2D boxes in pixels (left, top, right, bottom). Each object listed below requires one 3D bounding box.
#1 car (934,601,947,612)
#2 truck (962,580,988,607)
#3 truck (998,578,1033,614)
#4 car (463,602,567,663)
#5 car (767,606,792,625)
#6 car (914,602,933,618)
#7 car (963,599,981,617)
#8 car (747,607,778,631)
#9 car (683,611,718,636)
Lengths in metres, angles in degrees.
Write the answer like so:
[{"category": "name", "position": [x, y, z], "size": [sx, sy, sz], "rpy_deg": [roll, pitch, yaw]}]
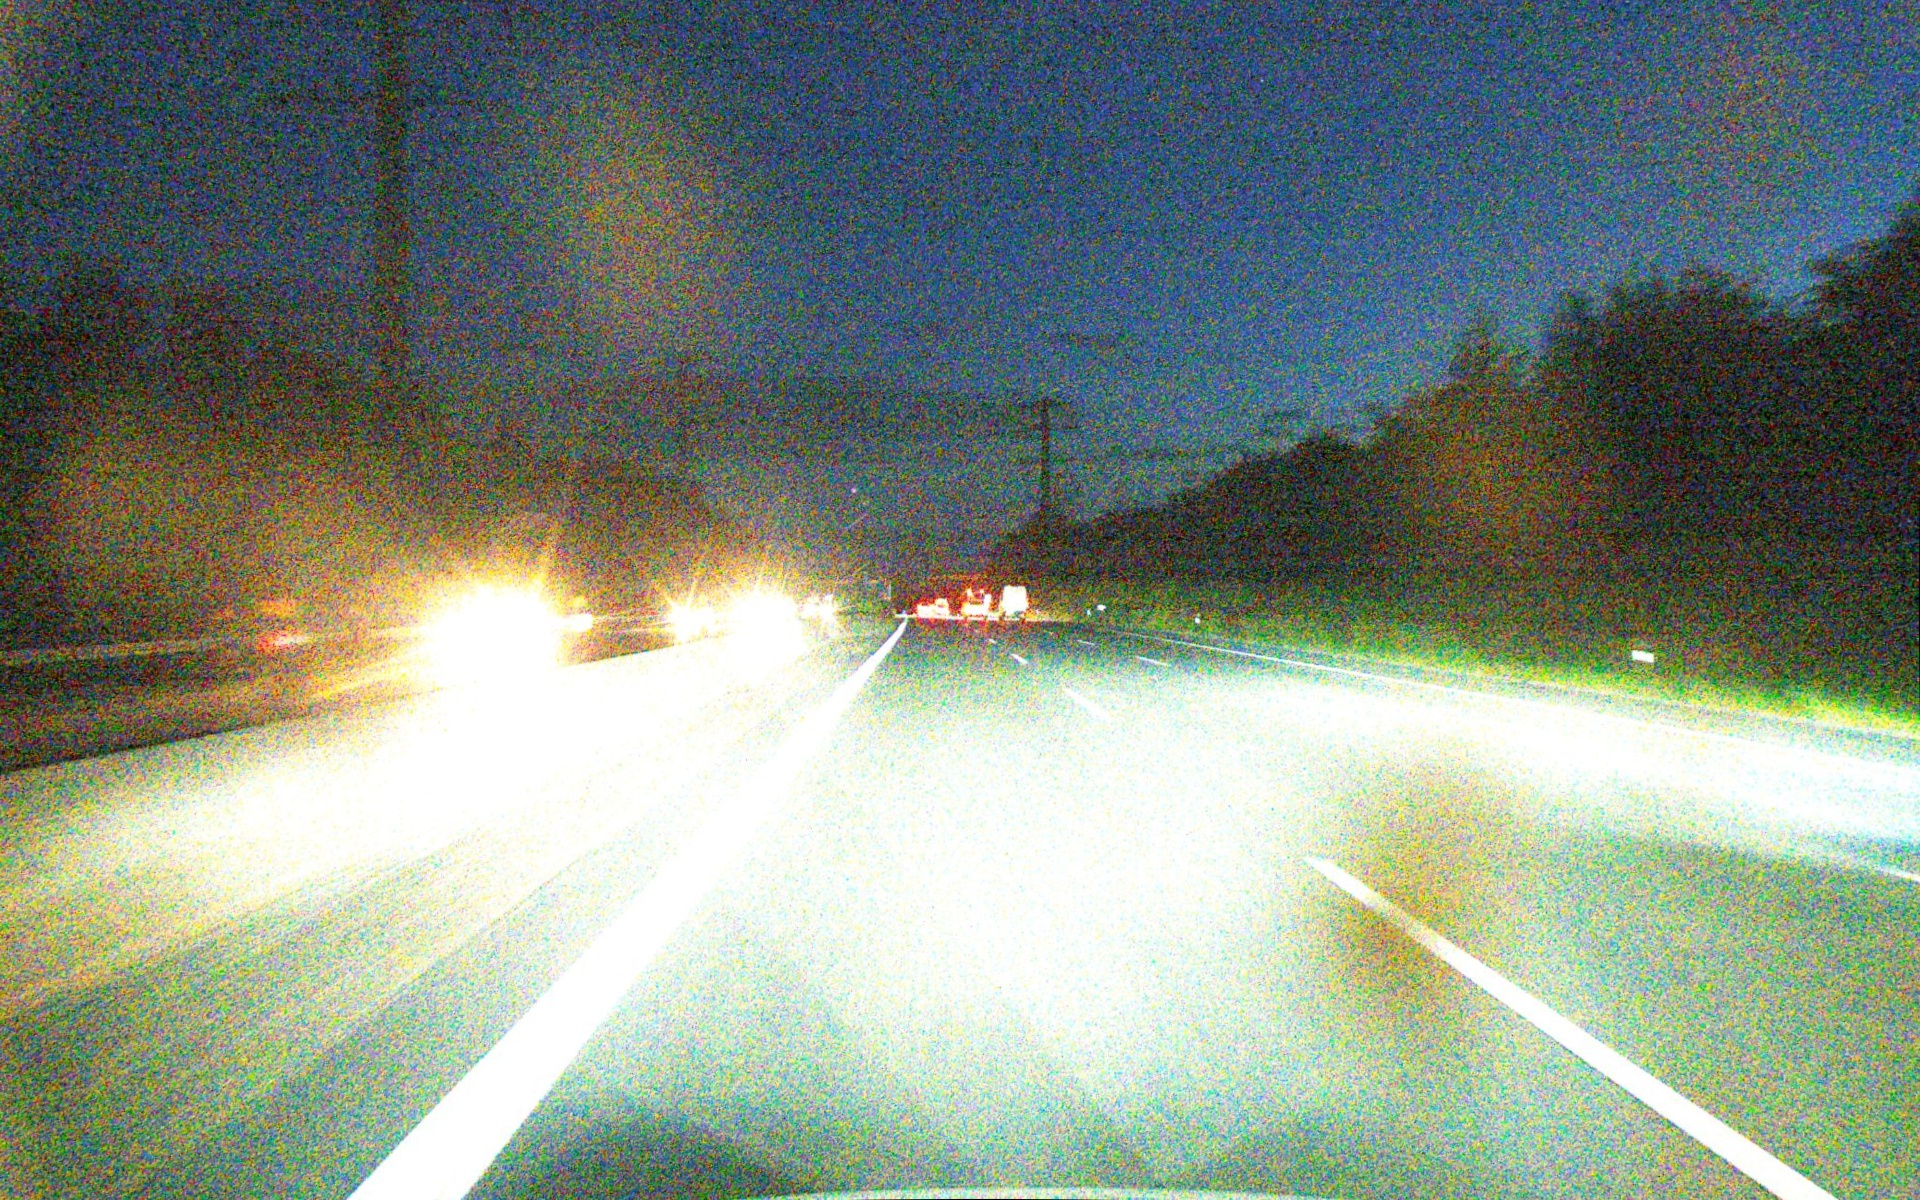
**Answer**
[{"category": "car", "position": [-2.755, 0.950, 233.054], "size": [1.784, 1.492, 4.246], "rpy_deg": [1, 0, -2]}, {"category": "truck", "position": [1.900, -0.806, 216.305], "size": [2.983, 3.383, 10.138], "rpy_deg": [1, 0, -2]}, {"category": "truck", "position": [4.433, -0.338, 133.375], "size": [2.035, 2.738, 7.303], "rpy_deg": [1, 0, -3]}, {"category": "car", "position": [-12.034, 0.829, 44.977], "size": [1.715, 1.504, 4.580], "rpy_deg": [-2, 0, -2]}, {"category": "car", "position": [-14.573, 1.240, 133.805], "size": [1.715, 1.504, 4.580], "rpy_deg": [-2, 0, -3]}, {"category": "car", "position": [-3.522, 0.937, 159.460], "size": [1.784, 1.492, 4.246], "rpy_deg": [1, 0, -2]}, {"category": "car", "position": [0.944, 0.617, 132.017], "size": [1.319, 1.411, 3.500], "rpy_deg": [1, 0, -1]}, {"category": "car", "position": [-13.563, 1.302, 113.869], "size": [1.715, 1.504, 4.580], "rpy_deg": [-2, 0, -2]}, {"category": "car", "position": [-17.127, 1.538, 109.206], "size": [1.715, 1.504, 4.580], "rpy_deg": [-2, 0, -2]}]
